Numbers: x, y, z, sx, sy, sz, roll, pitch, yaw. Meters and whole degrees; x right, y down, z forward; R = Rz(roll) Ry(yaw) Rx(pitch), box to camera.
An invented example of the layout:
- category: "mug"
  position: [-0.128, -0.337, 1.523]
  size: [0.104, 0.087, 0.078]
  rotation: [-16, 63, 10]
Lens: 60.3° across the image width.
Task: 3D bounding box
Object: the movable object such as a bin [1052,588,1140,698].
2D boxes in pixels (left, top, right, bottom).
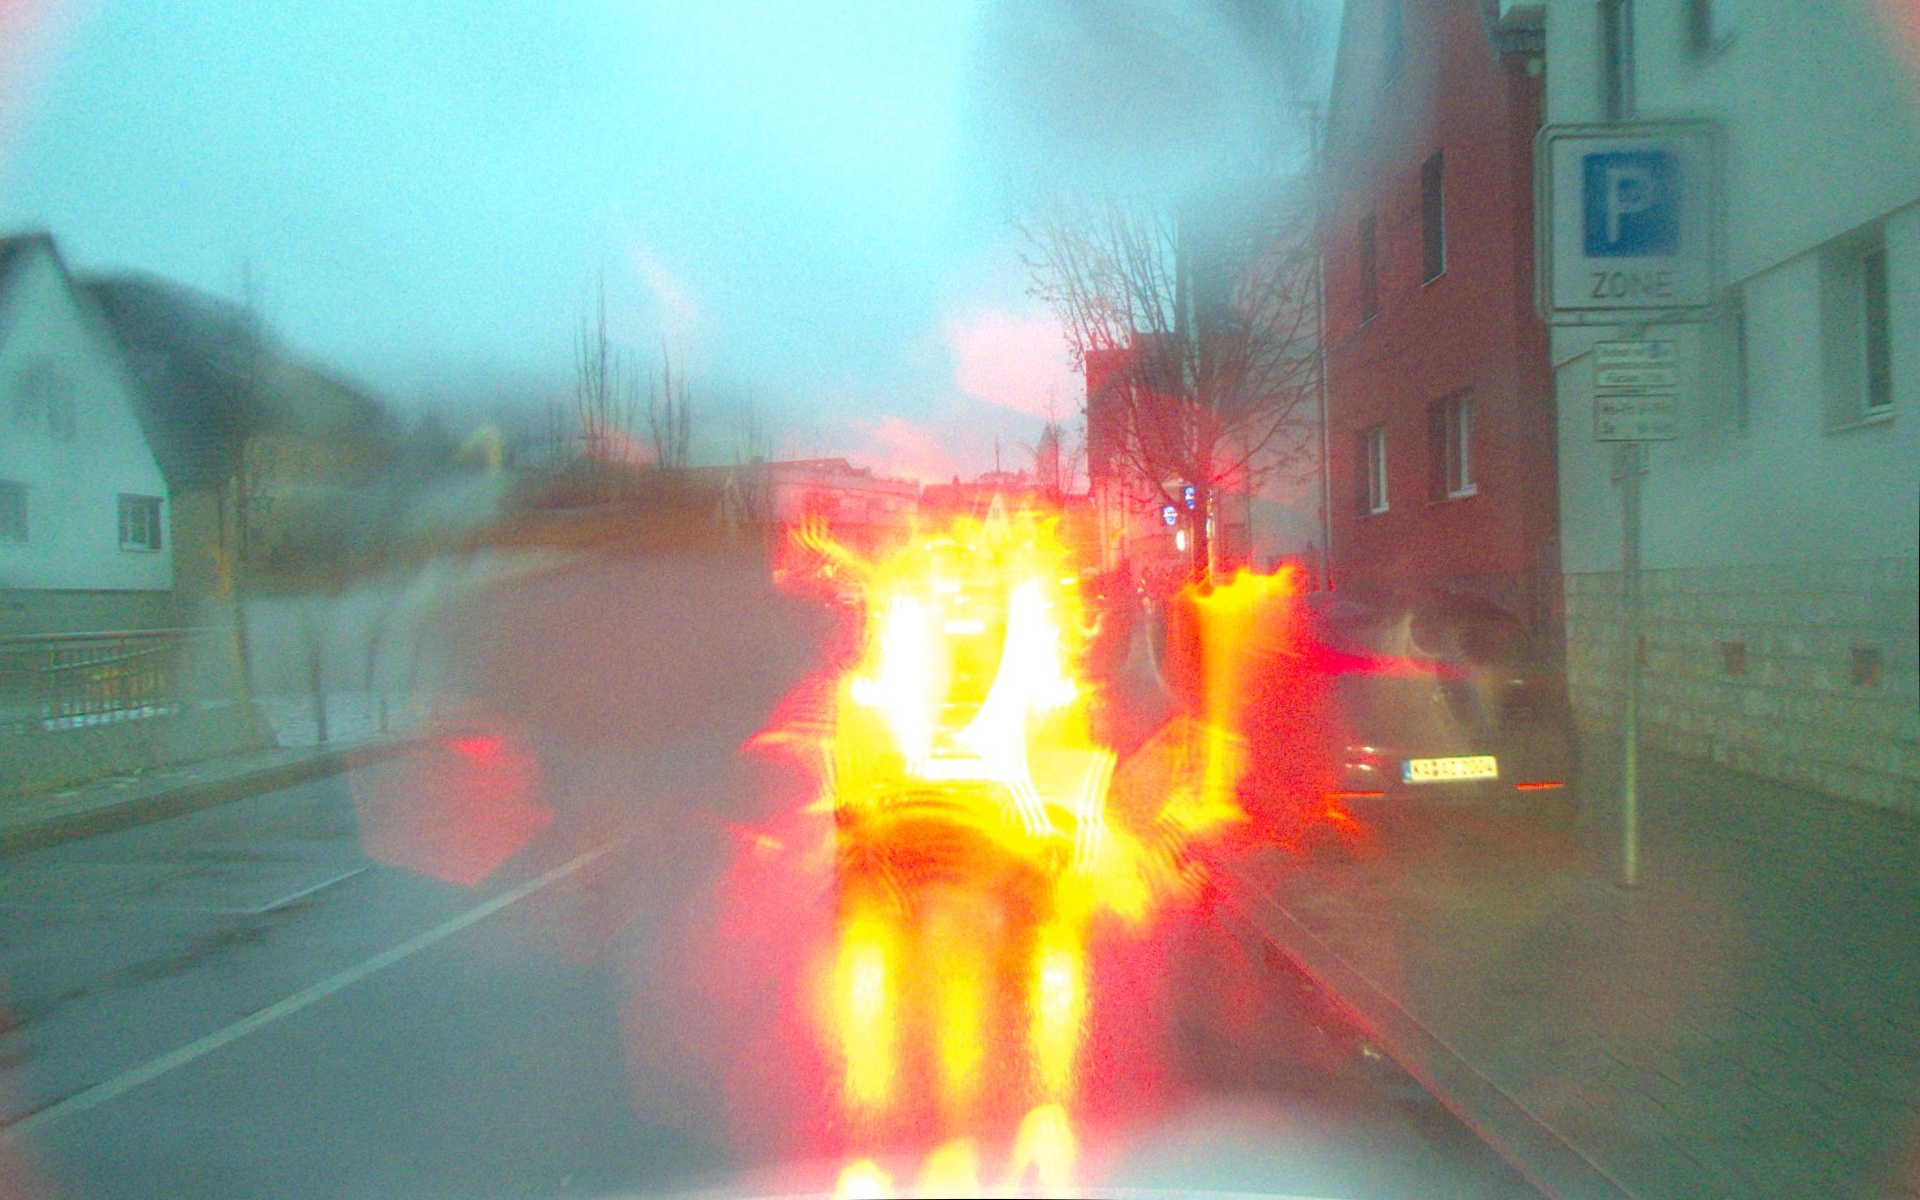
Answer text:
- category: "movable object such as a bin"
  position: [1.949, 0.603, 23.920]
  size: [1.106, 1.445, 1.418]
  rotation: [-4, 1, 2]

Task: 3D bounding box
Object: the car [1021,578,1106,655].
- category: "car"
  position: [2.466, 0.381, 40.295]
  size: [1.700, 1.722, 4.385]
  rotation: [-1, 0, -1]

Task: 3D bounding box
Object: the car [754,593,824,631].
- category: "car"
  position: [-10.492, 0.765, 101.500]
  size: [4.311, 2.204, 1.986]
  rotation: [-1, -3, 44]

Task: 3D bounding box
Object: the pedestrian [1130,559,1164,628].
- category: "pedestrian"
  position: [4.848, -0.180, 42.842]
  size: [0.697, 1.745, 1.035]
  rotation: [-2, 1, 13]

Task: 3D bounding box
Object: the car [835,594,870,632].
- category: "car"
  position: [-6.123, 0.773, 94.933]
  size: [1.881, 2.063, 3.973]
  rotation: [1, -2, -2]

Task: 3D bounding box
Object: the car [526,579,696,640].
- category: "car"
  position: [-9.997, 0.274, 47.680]
  size: [4.533, 1.697, 1.999]
  rotation: [0, 0, -3]

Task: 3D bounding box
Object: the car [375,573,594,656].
- category: "car"
  position: [-9.719, 0.299, 33.949]
  size: [4.008, 1.636, 1.588]
  rotation: [0, -1, 3]

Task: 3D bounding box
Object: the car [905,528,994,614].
- category: "car"
  position: [-0.500, -1.068, 66.435]
  size: [3.128, 3.085, 6.299]
  rotation: [1, -2, -4]

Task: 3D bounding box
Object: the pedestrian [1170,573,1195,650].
- category: "pedestrian"
  position: [4.957, 0.262, 36.757]
  size: [0.517, 1.682, 0.954]
  rotation: [0, -2, 9]

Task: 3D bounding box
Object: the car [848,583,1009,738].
- category: "car"
  position: [-0.357, 0.641, 19.701]
  size: [1.730, 1.657, 3.585]
  rotation: [1, 0, -1]

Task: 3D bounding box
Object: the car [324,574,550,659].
- category: "car"
  position: [-9.883, 0.315, 31.405]
  size: [3.713, 1.549, 1.716]
  rotation: [0, -1, 6]

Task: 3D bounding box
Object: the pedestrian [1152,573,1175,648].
- category: "pedestrian"
  position: [5.025, 0.251, 40.884]
  size: [0.517, 1.832, 0.865]
  rotation: [0, 0, 9]

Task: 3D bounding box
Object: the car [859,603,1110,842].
- category: "car"
  position: [0.143, 0.757, 11.669]
  size: [1.531, 1.437, 3.017]
  rotation: [1, 0, 0]

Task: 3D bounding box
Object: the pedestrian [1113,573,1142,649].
- category: "pedestrian"
  position: [3.924, 0.259, 38.808]
  size: [0.561, 1.729, 0.653]
  rotation: [-3, -1, 1]

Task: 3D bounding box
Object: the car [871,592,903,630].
- category: "car"
  position: [-4.530, 0.687, 102.919]
  size: [1.881, 2.254, 3.973]
  rotation: [1, -2, -2]

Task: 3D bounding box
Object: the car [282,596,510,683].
- category: "car"
  position: [-9.712, 0.665, 28.671]
  size: [3.375, 1.396, 1.600]
  rotation: [-1, 0, -1]

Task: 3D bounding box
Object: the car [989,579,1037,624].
- category: "car"
  position: [2.283, 0.090, 72.127]
  size: [1.957, 1.897, 4.082]
  rotation: [0, 0, 0]

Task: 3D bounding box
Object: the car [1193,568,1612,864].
- category: "car"
  position: [2.674, 0.599, 10.995]
  size: [1.692, 1.490, 4.200]
  rotation: [-4, 1, 2]
